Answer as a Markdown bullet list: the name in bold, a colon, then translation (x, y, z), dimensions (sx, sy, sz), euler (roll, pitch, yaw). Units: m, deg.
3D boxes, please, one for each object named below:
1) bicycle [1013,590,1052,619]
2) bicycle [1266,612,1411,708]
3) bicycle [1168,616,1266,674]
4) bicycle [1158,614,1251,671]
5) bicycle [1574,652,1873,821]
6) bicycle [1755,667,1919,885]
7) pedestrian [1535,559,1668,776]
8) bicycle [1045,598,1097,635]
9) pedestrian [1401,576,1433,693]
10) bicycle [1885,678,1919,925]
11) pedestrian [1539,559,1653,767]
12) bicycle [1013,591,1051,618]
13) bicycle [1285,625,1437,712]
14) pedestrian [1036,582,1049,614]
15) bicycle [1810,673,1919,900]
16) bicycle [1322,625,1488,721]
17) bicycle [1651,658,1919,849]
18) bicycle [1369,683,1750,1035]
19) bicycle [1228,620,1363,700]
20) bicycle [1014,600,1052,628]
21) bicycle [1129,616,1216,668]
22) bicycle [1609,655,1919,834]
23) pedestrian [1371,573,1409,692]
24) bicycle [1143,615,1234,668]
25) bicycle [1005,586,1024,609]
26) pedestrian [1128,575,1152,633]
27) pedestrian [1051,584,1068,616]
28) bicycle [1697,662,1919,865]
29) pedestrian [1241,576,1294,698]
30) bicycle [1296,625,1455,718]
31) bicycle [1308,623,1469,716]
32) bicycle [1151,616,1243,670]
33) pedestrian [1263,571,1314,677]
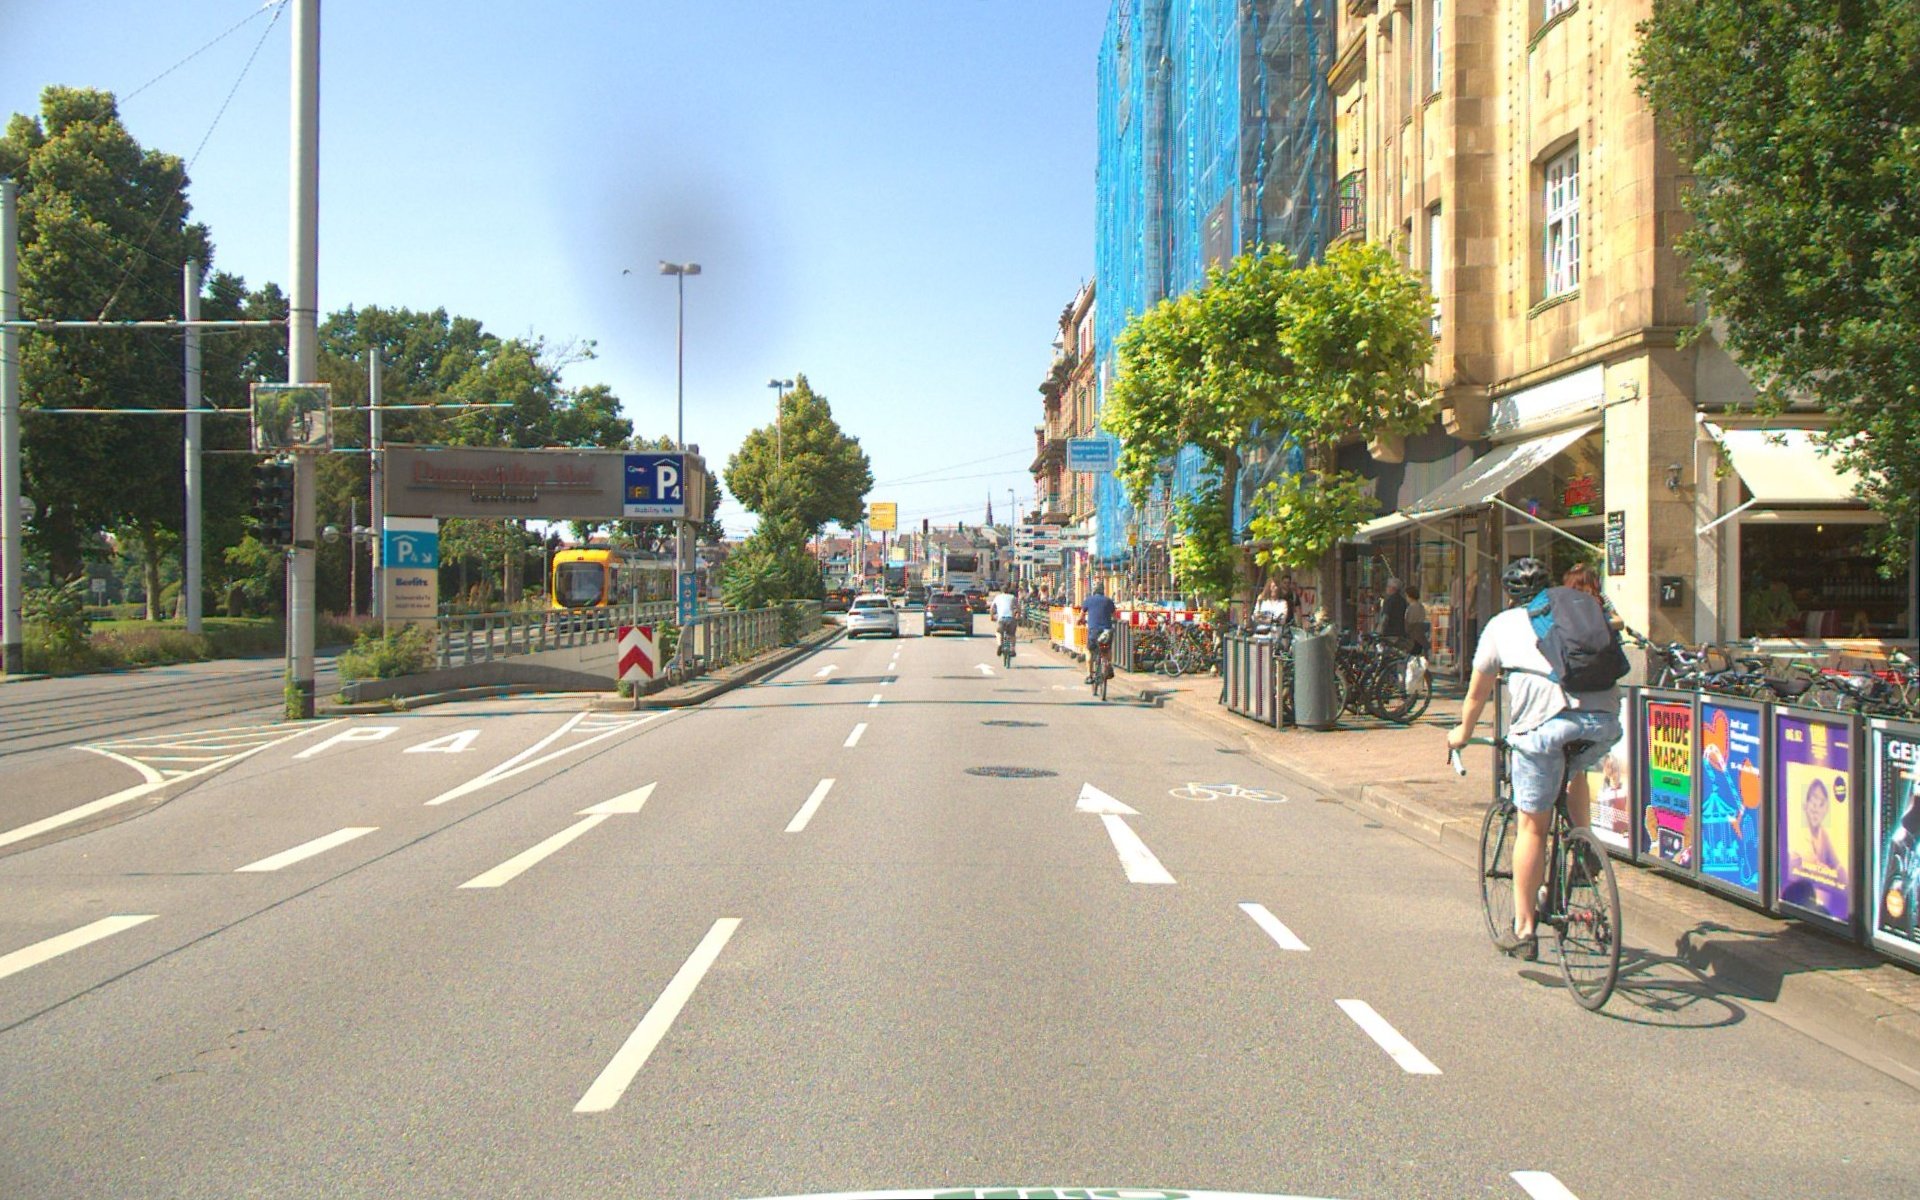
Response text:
- **bicycle**: translation (3.221, 0.214, 73.492), dimensions (1.659, 1.199, 0.608), euler (-3, 1, -1)
- **bicycle**: translation (4.831, 0.762, 21.153), dimensions (1.717, 1.202, 0.579), euler (0, 0, -3)
- **bicycle**: translation (4.684, 0.820, 30.193), dimensions (1.717, 1.036, 0.482), euler (0, 0, -3)
- **bicycle**: translation (4.597, 0.795, 31.061), dimensions (1.728, 1.036, 0.479), euler (0, 0, -22)
- **bicycle**: translation (4.861, 0.859, 10.571), dimensions (1.717, 1.036, 0.482), euler (0, 0, -3)
- **bicycle**: translation (4.960, 0.864, 8.320), dimensions (1.717, 1.036, 0.482), euler (0, 0, -3)
- **pedestrian**: translation (5.071, 0.516, 13.104), dimensions (0.682, 1.654, 0.700), euler (-1, 0, -11)
- **bicycle**: translation (3.690, 0.560, 54.954), dimensions (1.659, 1.199, 0.608), euler (1, 0, -1)
- **pedestrian**: translation (6.788, 0.509, 24.584), dimensions (0.373, 1.712, 0.477), euler (-1, -1, 22)
- **bicycle**: translation (4.942, 0.865, 7.094), dimensions (1.717, 1.036, 0.482), euler (0, 0, -3)
- **pedestrian**: translation (5.268, 0.504, 13.720), dimensions (0.588, 1.654, 0.643), euler (-3, 0, -7)
- **bicycle**: translation (3.229, 0.210, 74.124), dimensions (1.659, 1.199, 0.608), euler (-1, 1, -1)
- **bicycle**: translation (4.866, 0.826, 20.102), dimensions (1.717, 1.036, 0.557), euler (0, 0, -3)
- **pedestrian**: translation (4.414, -0.118, 88.524), dimensions (0.641, 1.649, 0.815), euler (-1, 1, -3)
- **bicycle**: translation (4.937, 0.854, 7.758), dimensions (1.683, 1.002, 0.482), euler (0, 0, -3)
- **bicycle**: translation (4.916, 0.795, 18.304), dimensions (1.717, 1.036, 0.482), euler (0, 0, -3)
- **bicycle**: translation (4.896, 0.861, 9.447), dimensions (1.717, 1.036, 0.482), euler (0, 0, -3)
- **bicycle**: translation (2.377, 0.966, 6.887), dimensions (0.719, 1.112, 2.129), euler (2, 0, -2)
- **bicycle**: translation (4.563, 0.798, 22.500), dimensions (1.717, 1.036, 0.657), euler (0, 0, 22)
- **bicycle**: translation (3.209, 0.596, 72.735), dimensions (1.659, 1.199, 0.608), euler (-1, 0, -1)
- **bicycle**: translation (4.357, 0.857, 33.928), dimensions (1.717, 1.036, 0.482), euler (0, 0, -3)
- **bicycle**: translation (4.877, 0.860, 10.026), dimensions (1.717, 1.036, 0.482), euler (0, 0, -3)
- **pedestrian**: translation (6.315, 0.472, 24.279), dimensions (0.487, 1.712, 0.537), euler (-2, -1, 15)
- **bicycle**: translation (4.508, 0.817, 32.655), dimensions (1.717, 1.036, 0.482), euler (0, 0, -3)
- **bicycle**: translation (2.695, -0.121, 81.928), dimensions (0.719, 1.112, 1.897), euler (2, 0, -3)
- **pedestrian**: translation (5.671, 0.134, 52.197), dimensions (0.626, 1.807, 0.649), euler (2, 0, -1)
- **pedestrian**: translation (5.403, 0.010, 89.664), dimensions (0.740, 1.684, 0.837), euler (-3, -1, -2)
- **bicycle**: translation (4.919, 0.863, 8.899), dimensions (1.717, 1.036, 0.482), euler (0, 0, -3)
- **pedestrian**: translation (4.387, 0.525, 23.608), dimensions (0.642, 1.712, 0.653), euler (0, -1, 2)
- **bicycle**: translation (4.878, 0.833, 19.463), dimensions (1.718, 1.036, 0.586), euler (-1, 0, -3)
- **bicycle**: translation (4.876, 0.779, 18.851), dimensions (1.717, 1.036, 0.482), euler (0, 0, -3)
- **bicycle**: translation (4.588, 0.826, 32.055), dimensions (1.717, 1.036, 0.482), euler (0, 0, -3)
- **pedestrian**: translation (6.014, 0.435, 30.355), dimensions (0.797, 1.881, 0.892), euler (-2, -1, 6)
